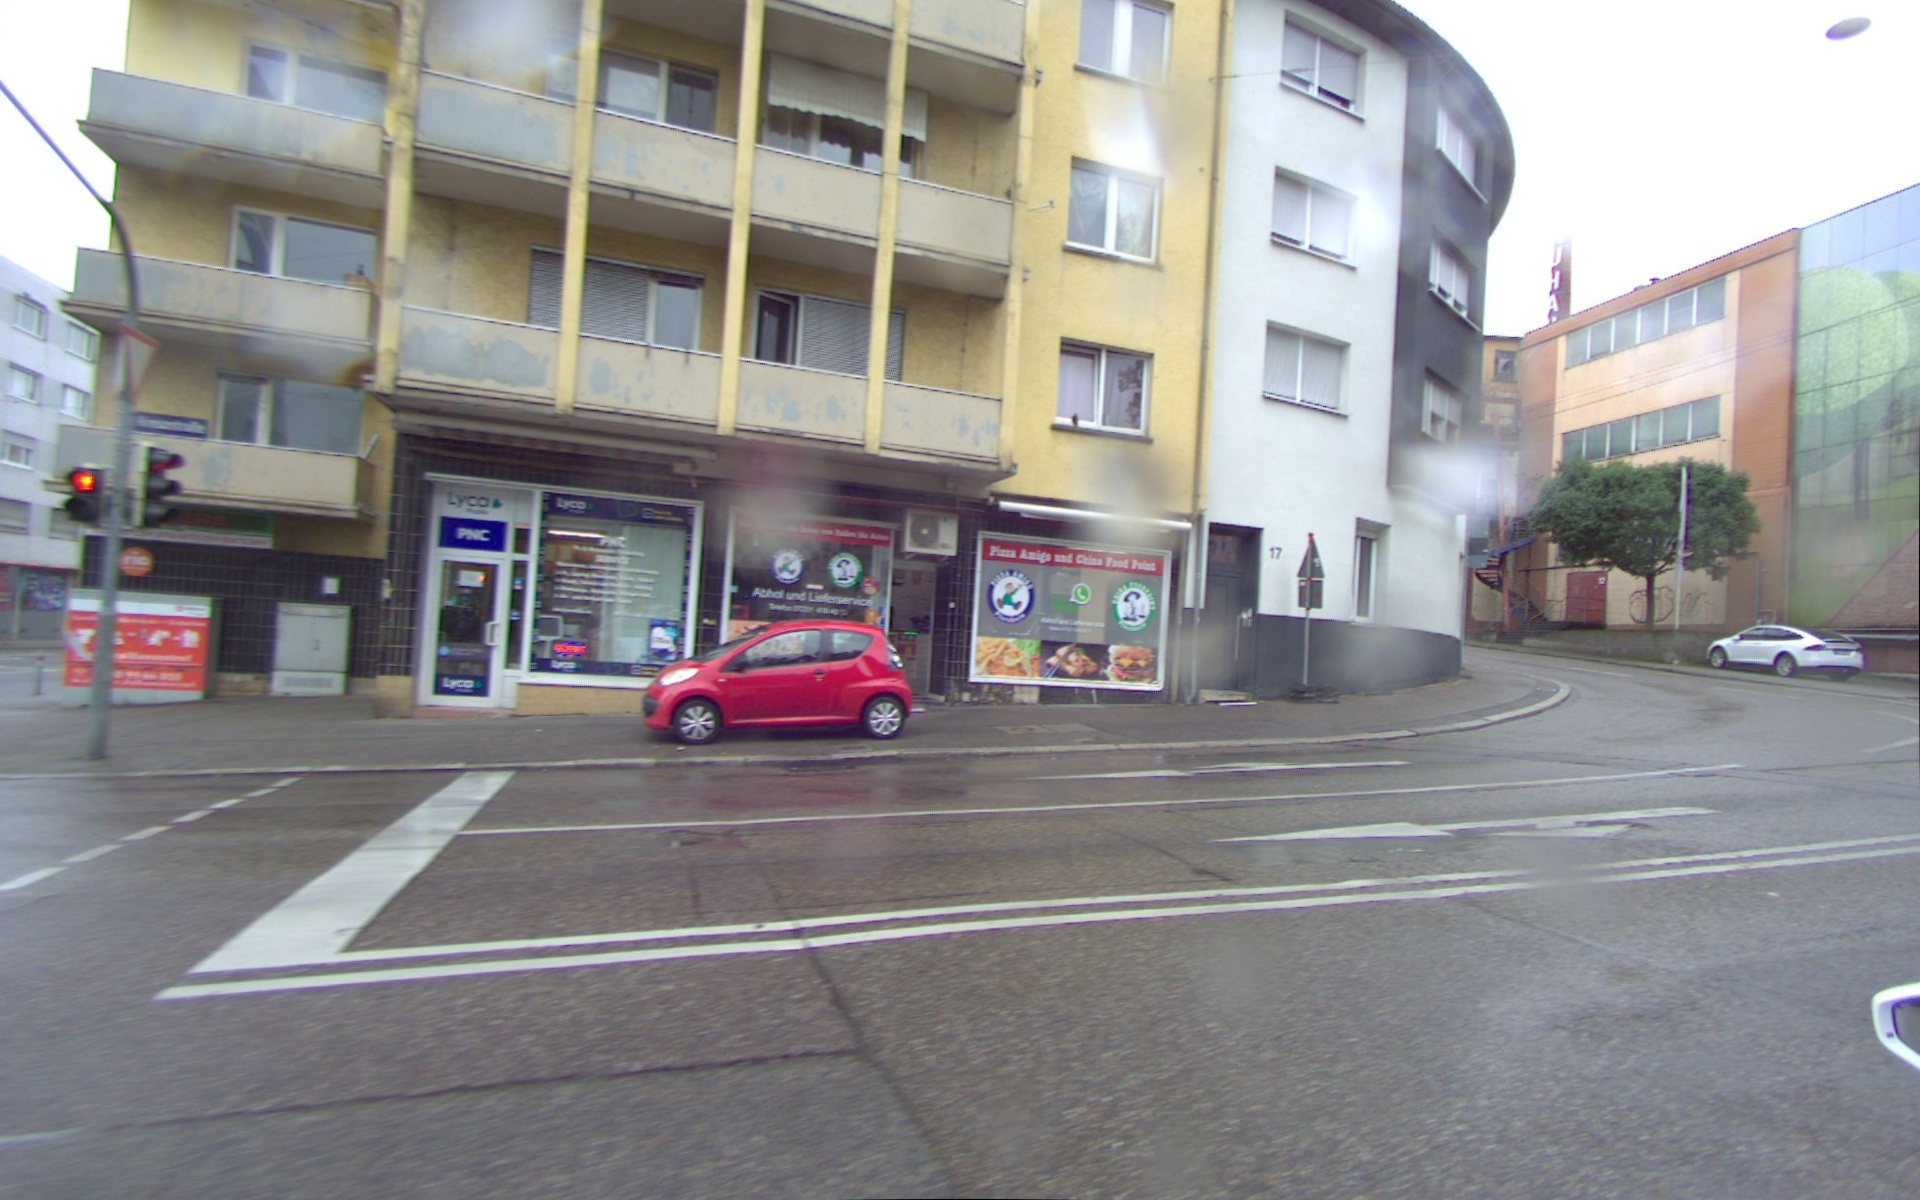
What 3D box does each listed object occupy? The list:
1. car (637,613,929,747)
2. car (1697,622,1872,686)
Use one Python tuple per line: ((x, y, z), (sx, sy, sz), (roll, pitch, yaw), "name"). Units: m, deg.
((-2.310, 0.979, 12.920), (3.478, 1.484, 1.608), (2, 1, -18), "car")
((27.895, 1.775, 34.250), (1.822, 1.639, 4.914), (4, 2, 0), "car")
